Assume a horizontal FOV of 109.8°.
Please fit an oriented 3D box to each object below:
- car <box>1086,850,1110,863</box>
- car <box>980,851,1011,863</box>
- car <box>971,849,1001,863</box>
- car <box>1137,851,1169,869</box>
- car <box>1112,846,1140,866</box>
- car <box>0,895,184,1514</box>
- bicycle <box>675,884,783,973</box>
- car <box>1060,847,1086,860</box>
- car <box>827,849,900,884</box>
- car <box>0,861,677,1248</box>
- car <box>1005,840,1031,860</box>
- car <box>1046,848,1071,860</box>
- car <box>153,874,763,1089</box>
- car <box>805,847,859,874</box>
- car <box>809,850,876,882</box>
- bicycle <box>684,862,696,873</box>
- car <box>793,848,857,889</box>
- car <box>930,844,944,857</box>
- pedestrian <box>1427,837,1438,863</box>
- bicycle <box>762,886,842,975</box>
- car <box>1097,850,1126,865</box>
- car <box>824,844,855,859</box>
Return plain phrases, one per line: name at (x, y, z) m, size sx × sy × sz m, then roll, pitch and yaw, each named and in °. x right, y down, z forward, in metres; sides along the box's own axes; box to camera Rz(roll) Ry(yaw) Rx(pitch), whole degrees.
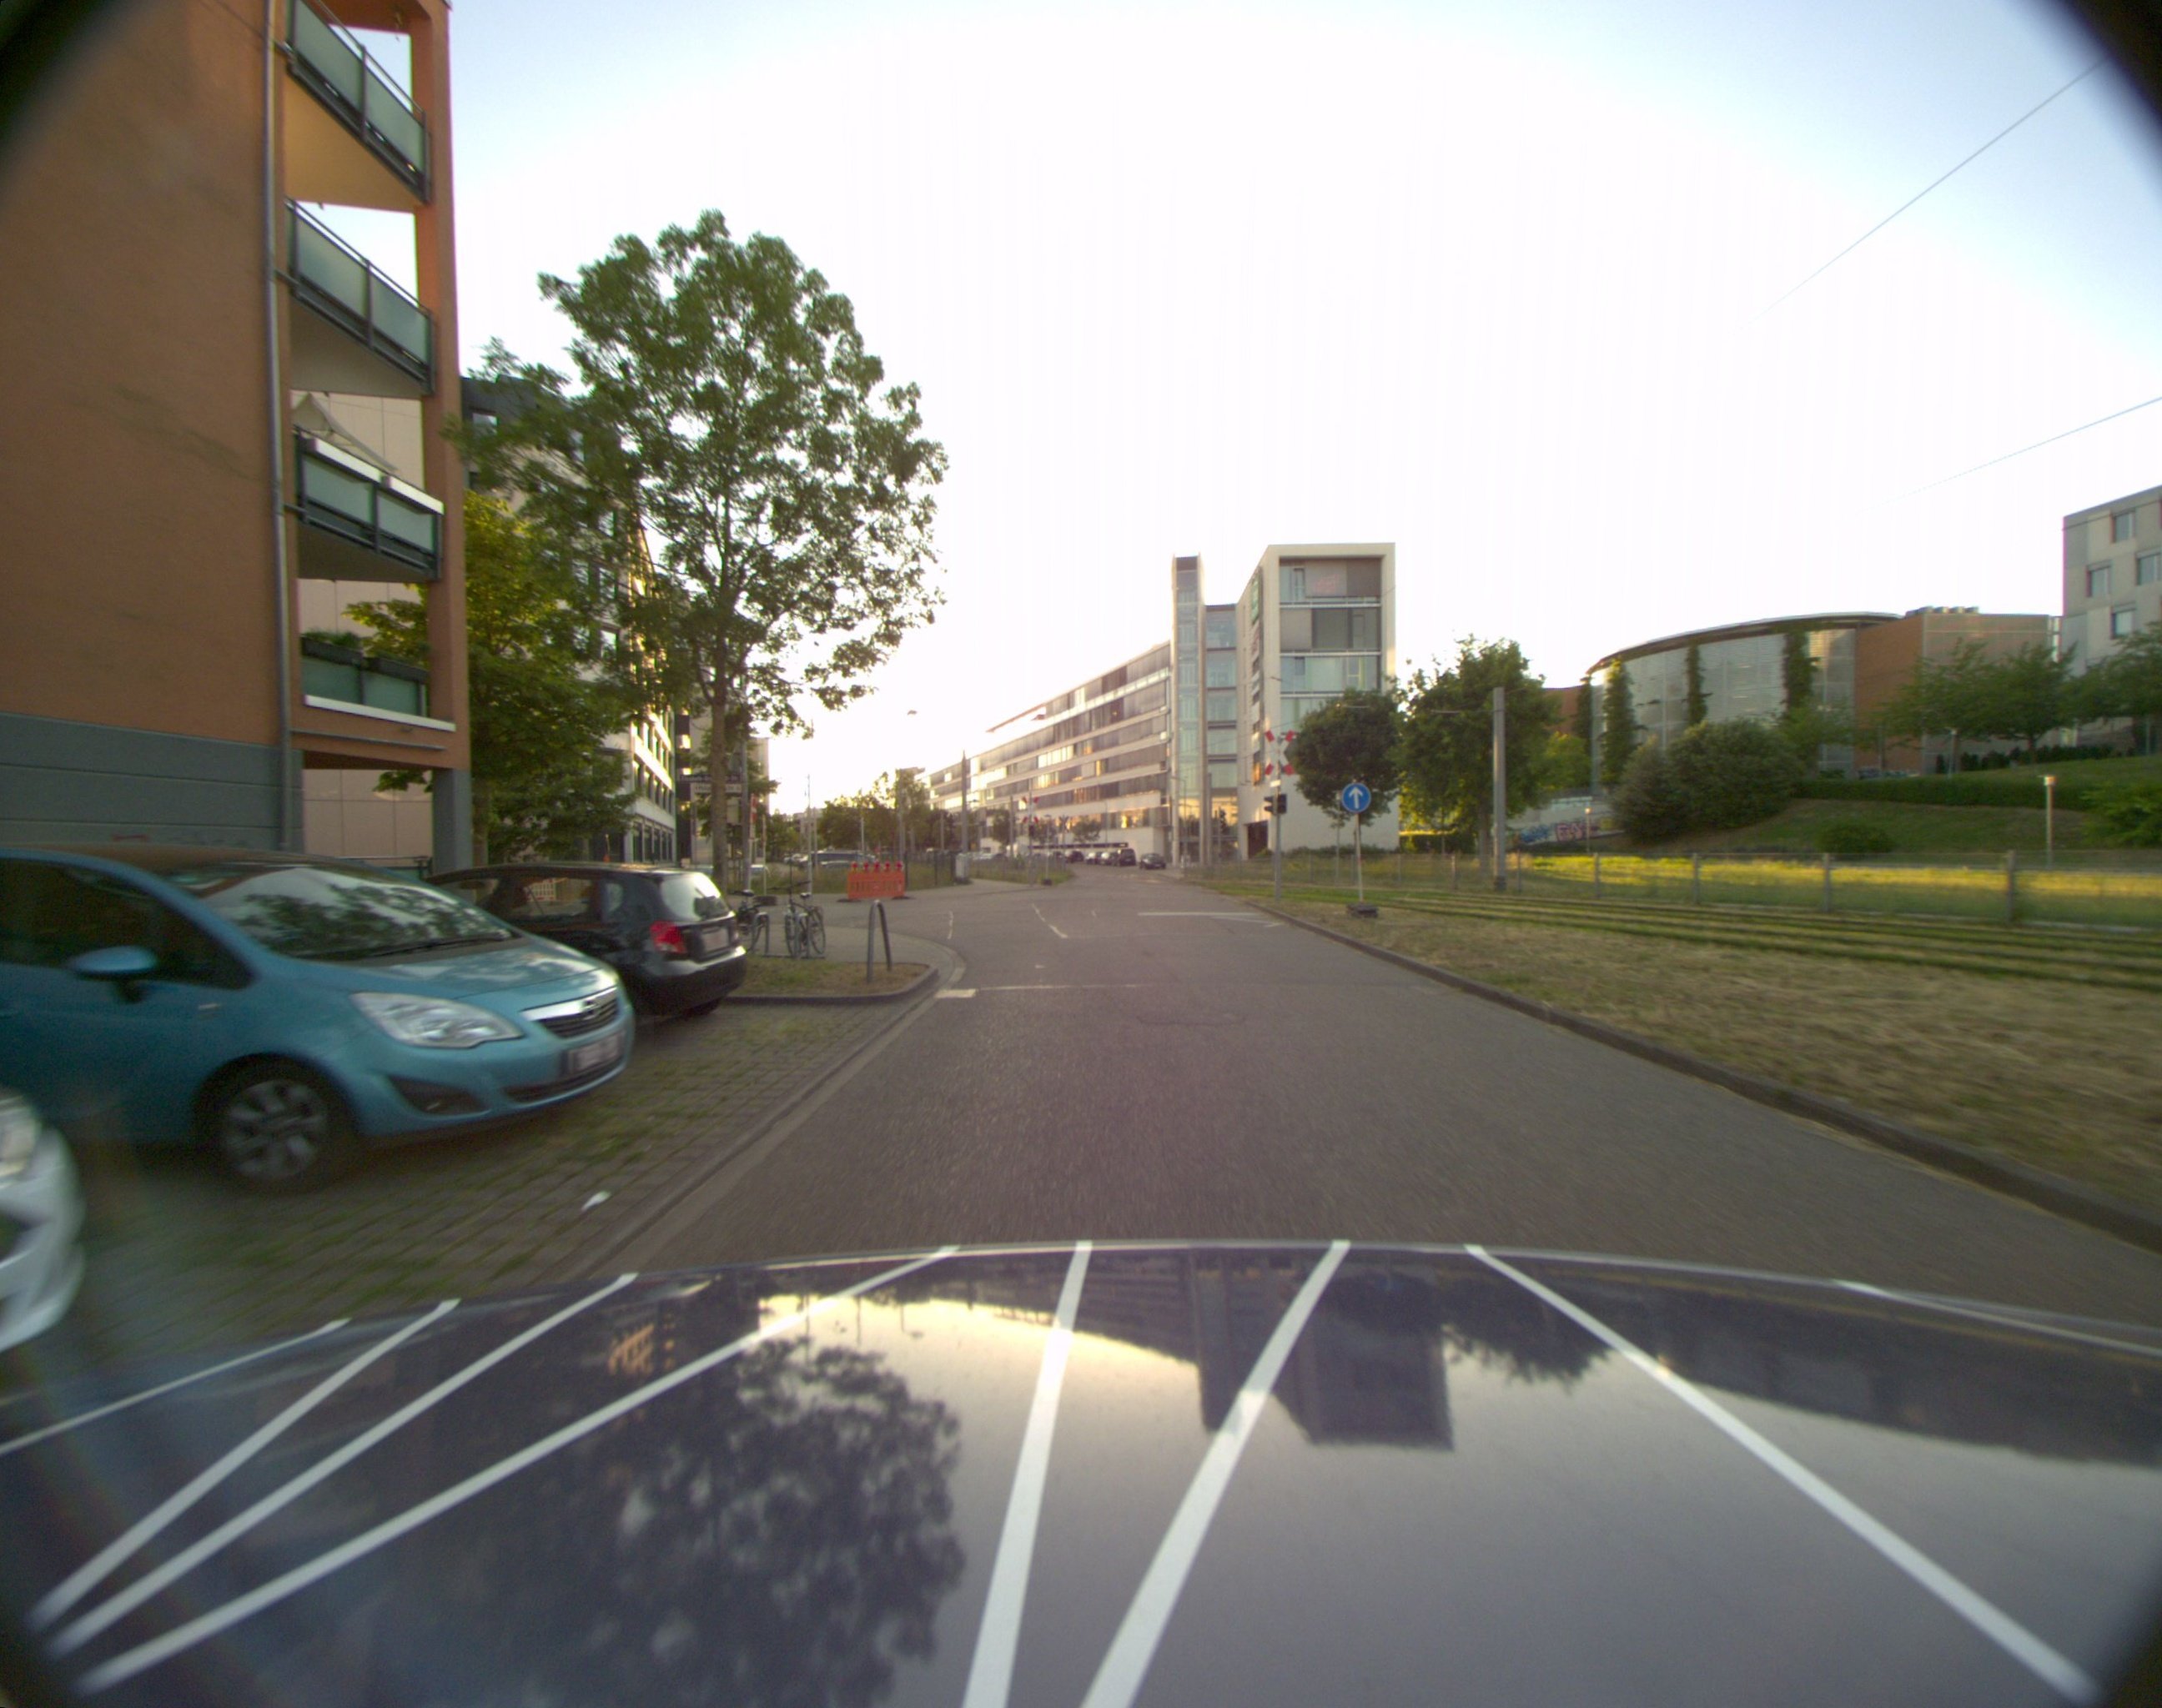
car at (1.972, 0.297, 87.670) m, size 1.654 × 1.468 × 3.760 m, roll -1°, pitch 0°, yaw -18°
car at (-10.417, 0.320, 92.682) m, size 1.713 × 1.368 × 4.007 m, roll -1°, pitch 0°, yaw 28°
car at (-12.267, 0.237, 98.098) m, size 1.713 × 1.746 × 4.007 m, roll -1°, pitch 1°, yaw 31°
car at (6.287, 0.472, 66.953) m, size 1.858 × 1.434 × 4.225 m, roll -3°, pitch 1°, yaw -7°
car at (4.565, 0.196, 78.190) m, size 1.895 × 1.961 × 4.513 m, roll -3°, pitch 1°, yaw -9°
car at (-4.728, 0.938, 1.562) m, size 3.886 × 1.560 × 1.620 m, roll -1°, pitch 1°, yaw 2°
bicycle at (-5.104, 1.037, 11.168) m, size 0.680 × 1.145 × 1.928 m, roll 1°, pitch -1°, yaw 0°
car at (-1.038, -0.057, 95.607) m, size 1.799 × 1.676 × 3.992 m, roll -1°, pitch 1°, yaw -23°
car at (-12.950, 0.713, 45.235) m, size 4.004 × 2.002 × 1.996 m, roll -1°, pitch 1°, yaw -21°
car at (-4.643, 0.854, 4.085) m, size 4.060 × 1.560 × 1.673 m, roll 1°, pitch 1°, yaw 2°
car at (-9.513, -0.597, 114.888) m, size 2.008 × 2.859 × 6.243 m, roll 0°, pitch 0°, yaw -23°
car at (-2.989, -0.013, 101.996) m, size 1.800 × 1.542 × 3.991 m, roll -3°, pitch 1°, yaw -26°
car at (-4.949, 0.962, 6.486) m, size 3.760 × 1.465 × 1.613 m, roll -1°, pitch 1°, yaw -3°
car at (-20.318, 0.508, 61.943) m, size 4.004 × 2.002 × 1.996 m, roll -1°, pitch 1°, yaw -23°
car at (-15.543, 0.762, 49.543) m, size 4.004 × 2.002 × 1.996 m, roll -1°, pitch 1°, yaw -21°
bicycle at (-32.874, 1.133, 63.928) m, size 0.816 × 0.945 × 2.210 m, roll -1°, pitch 0°, yaw -24°
car at (-13.473, 0.729, 40.262) m, size 1.998 × 2.002 × 4.000 m, roll -1°, pitch 0°, yaw 1°
car at (-30.692, -0.695, 162.017) m, size 2.003 × 2.570 × 3.991 m, roll -1°, pitch 0°, yaw -26°
pedestrian at (25.269, -0.284, 54.638) m, size 0.450 × 1.826 × 0.483 m, roll -3°, pitch 1°, yaw -19°
bicycle at (-4.027, 1.060, 11.099) m, size 0.719 × 1.145 × 1.897 m, roll 1°, pitch -1°, yaw -9°
car at (3.310, 0.352, 82.942) m, size 1.867 × 1.468 × 4.514 m, roll -3°, pitch 1°, yaw -15°
car at (-34.663, -0.347, 109.033) m, size 4.005 × 2.002 × 1.996 m, roll -1°, pitch 1°, yaw -26°
